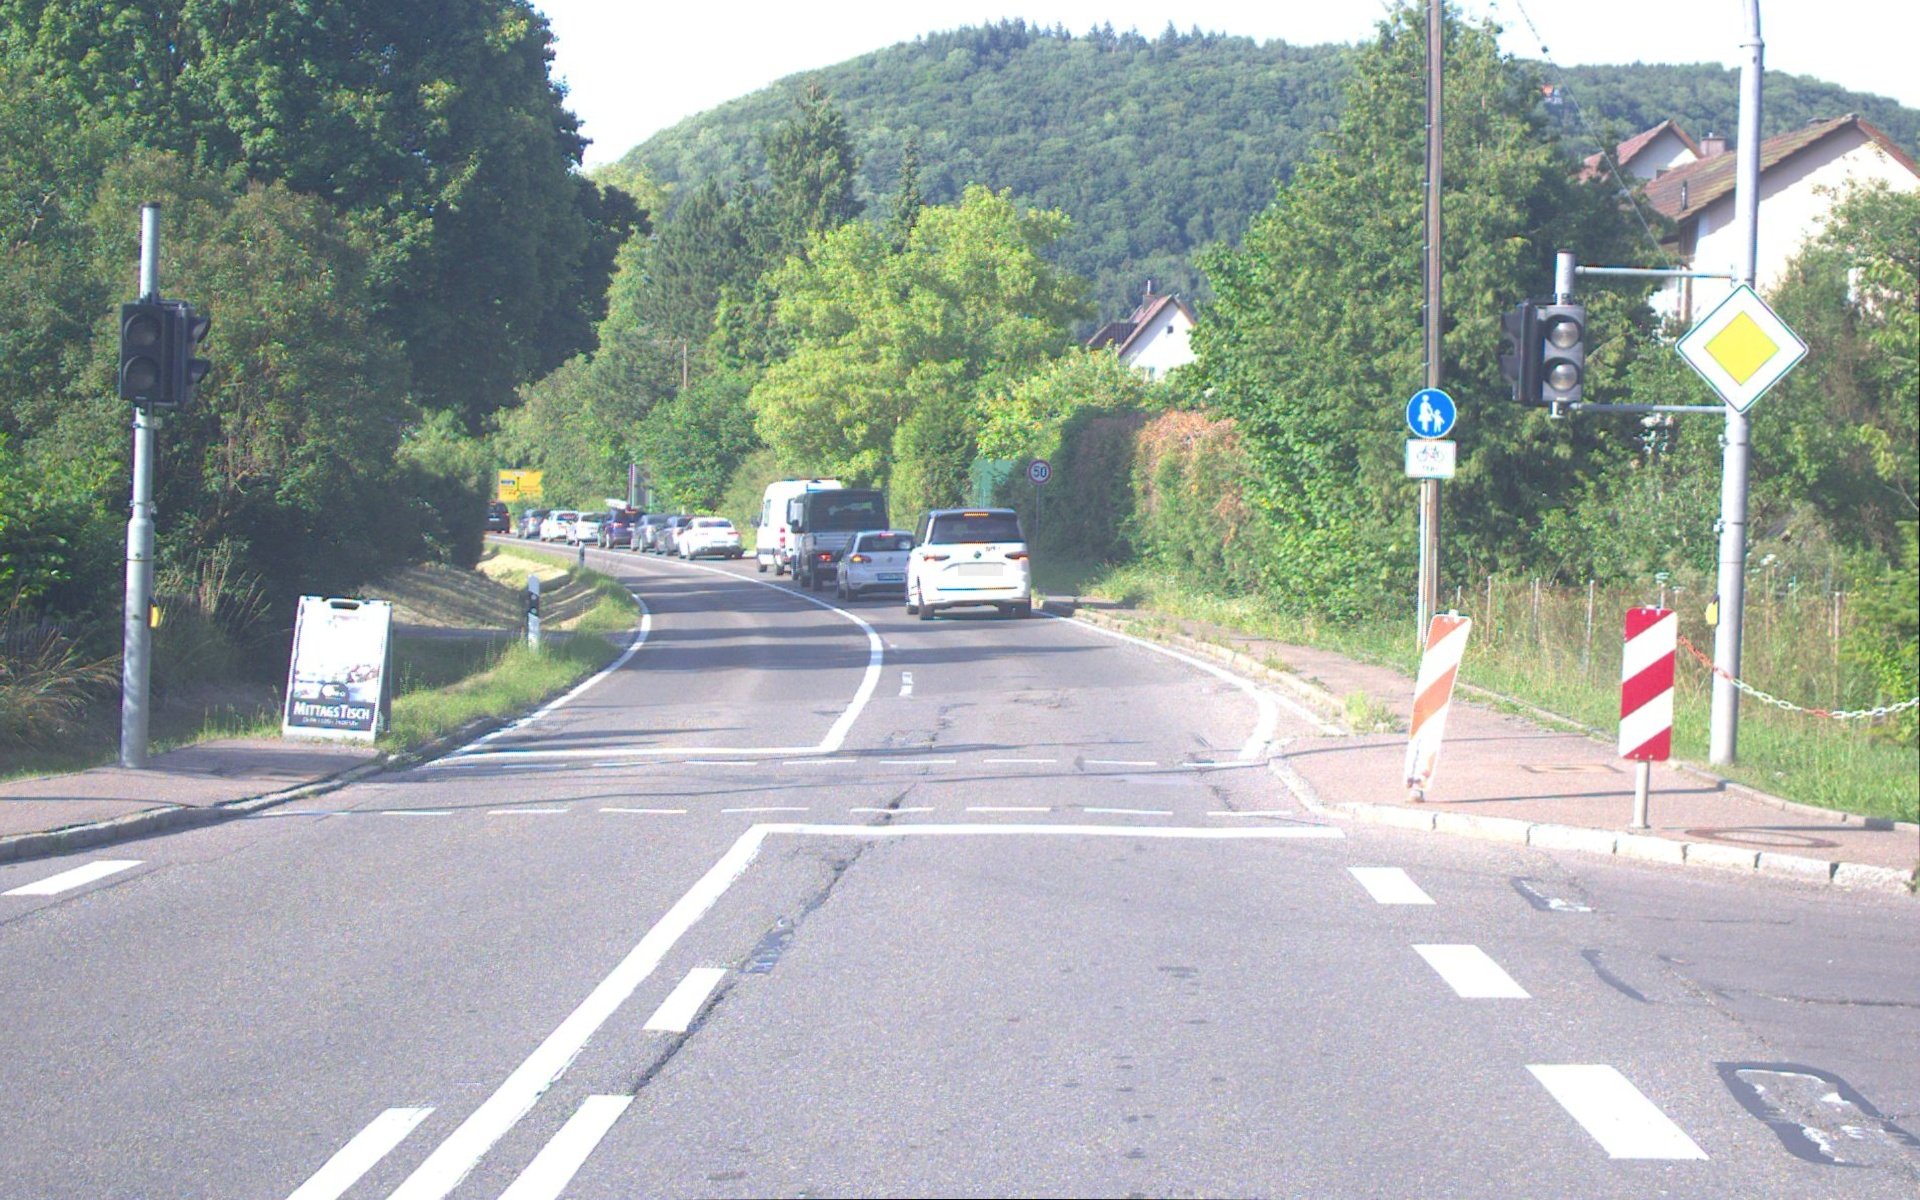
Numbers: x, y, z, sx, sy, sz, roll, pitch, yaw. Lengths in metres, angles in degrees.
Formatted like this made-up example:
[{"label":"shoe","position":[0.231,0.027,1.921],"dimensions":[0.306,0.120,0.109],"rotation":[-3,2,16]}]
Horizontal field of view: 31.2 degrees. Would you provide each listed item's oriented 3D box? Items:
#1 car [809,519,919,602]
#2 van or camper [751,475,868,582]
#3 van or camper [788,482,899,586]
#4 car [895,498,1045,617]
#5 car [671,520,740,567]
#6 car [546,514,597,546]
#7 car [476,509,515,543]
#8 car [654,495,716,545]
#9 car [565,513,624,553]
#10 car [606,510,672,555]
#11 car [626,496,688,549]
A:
[{"label":"car","position":[-2.061,-0.856,72.528],"dimensions":[1.993,1.678,4.001],"rotation":[0,1,-6]},{"label":"van or camper","position":[-4.252,-2.016,96.029],"dimensions":[2.414,2.894,6.133],"rotation":[0,1,-11]},{"label":"van or camper","position":[-2.808,-1.576,81.597],"dimensions":[2.179,2.377,5.371],"rotation":[0,1,-7]},{"label":"car","position":[0.119,-0.784,60.291],"dimensions":[1.993,1.870,4.872],"rotation":[2,2,-7]},{"label":"car","position":[-8.689,-1.948,117.318],"dimensions":[1.819,1.546,4.001],"rotation":[0,2,-12]},{"label":"car","position":[-17.779,-3.222,157.247],"dimensions":[1.941,1.419,4.001],"rotation":[0,2,-12]},{"label":"car","position":[-24.844,-3.943,183.697],"dimensions":[1.771,1.776,4.001],"rotation":[-1,1,-12]},{"label":"car","position":[-9.972,-2.911,124.513],"dimensions":[1.796,1.787,4.001],"rotation":[0,2,-11]},{"label":"car","position":[-15.768,-2.867,148.228],"dimensions":[1.941,1.678,4.001],"rotation":[-1,1,-14]},{"label":"car","position":[-13.011,-2.740,139.159],"dimensions":[2.040,1.678,4.002],"rotation":[1,2,-14]},{"label":"car","position":[-11.567,-2.963,131.081],"dimensions":[1.993,2.006,4.001],"rotation":[0,2,-10]}]
